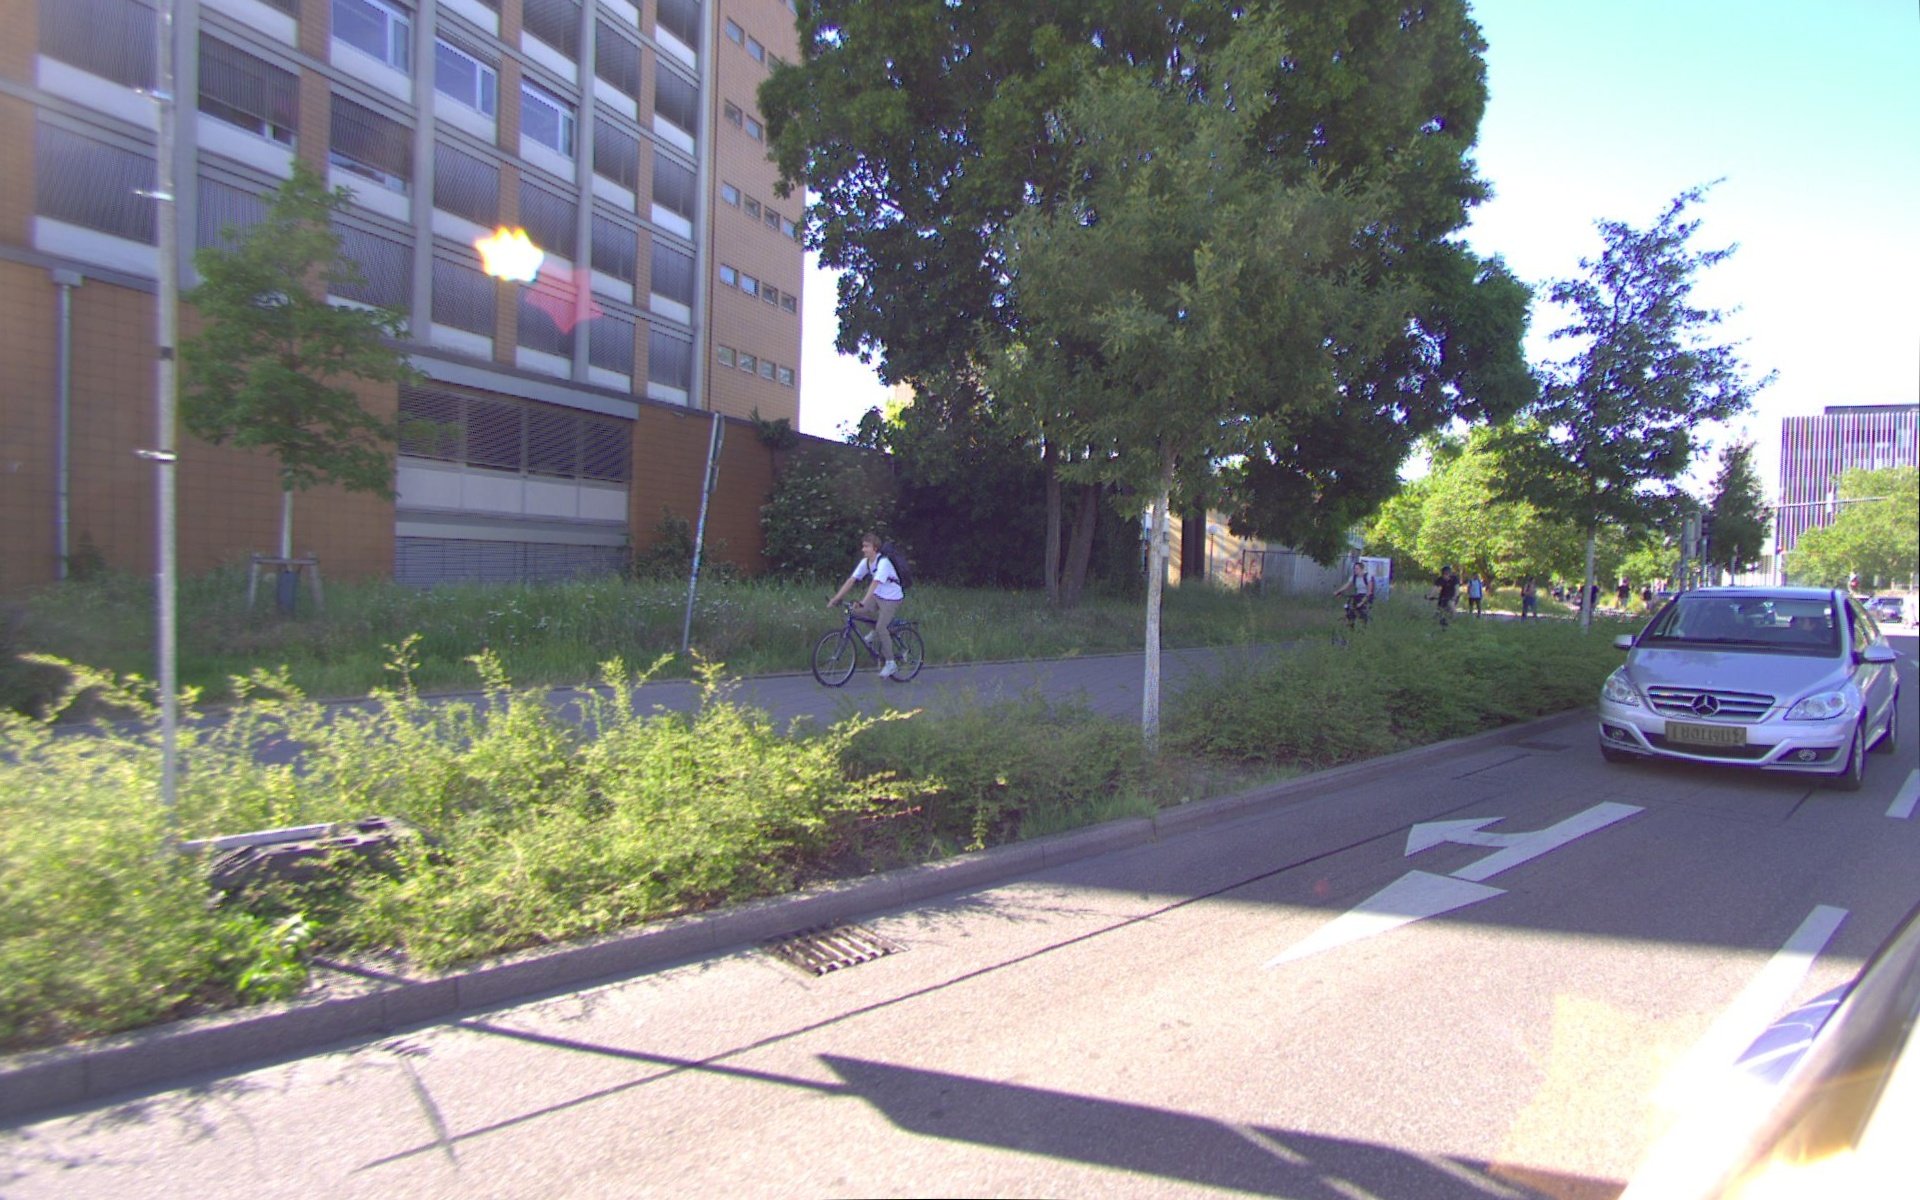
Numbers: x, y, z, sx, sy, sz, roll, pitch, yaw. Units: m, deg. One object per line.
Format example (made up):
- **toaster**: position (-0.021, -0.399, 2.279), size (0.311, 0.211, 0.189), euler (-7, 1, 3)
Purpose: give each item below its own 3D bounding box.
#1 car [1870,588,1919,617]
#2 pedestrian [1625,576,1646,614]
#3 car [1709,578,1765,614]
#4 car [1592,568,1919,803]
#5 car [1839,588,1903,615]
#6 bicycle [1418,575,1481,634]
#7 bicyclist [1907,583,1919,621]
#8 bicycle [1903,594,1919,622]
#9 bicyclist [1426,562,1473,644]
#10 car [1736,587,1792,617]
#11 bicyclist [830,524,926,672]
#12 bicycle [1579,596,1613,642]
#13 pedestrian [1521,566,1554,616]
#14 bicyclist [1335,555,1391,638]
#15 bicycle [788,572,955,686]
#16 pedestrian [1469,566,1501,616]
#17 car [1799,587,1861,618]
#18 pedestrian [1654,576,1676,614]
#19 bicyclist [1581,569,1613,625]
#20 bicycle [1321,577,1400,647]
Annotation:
- **car**: position (52.914, 0.112, 56.648), size (1.967, 1.574, 4.674), euler (1, 1, 30)
- **pedestrian**: position (33.637, -0.250, 50.368), size (0.729, 1.804, 0.724), euler (2, -1, 44)
- **car**: position (44.629, -0.240, 58.233), size (1.923, 1.977, 4.707), euler (1, 1, 30)
- **car**: position (7.670, 0.552, 9.499), size (4.560, 1.613, 1.769), euler (-3, 3, -42)
- **car**: position (56.700, 0.050, 63.059), size (1.967, 1.574, 4.674), euler (1, 1, 30)
- **bicycle**: position (10.340, 0.077, 21.348), size (0.641, 1.179, 1.841), euler (3, 2, 43)
- **bicyclist**: position (44.231, 0.114, 46.519), size (0.739, 1.705, 0.968), euler (2, 3, 28)
- **bicycle**: position (44.273, 0.367, 46.611), size (0.741, 1.179, 1.852), euler (2, 3, 28)
- **bicyclist**: position (10.318, 0.055, 21.319), size (0.641, 1.665, 0.764), euler (3, 1, 44)
- **car**: position (41.516, 0.070, 52.334), size (1.690, 1.460, 3.958), euler (1, 1, 30)
- **bicyclist**: position (-0.944, -0.040, 11.675), size (0.630, 1.614, 0.819), euler (6, 4, 44)
- **bicycle**: position (17.208, 0.493, 27.367), size (0.639, 1.180, 1.845), euler (1, 1, 37)
- **pedestrian**: position (19.843, -0.303, 34.793), size (0.665, 1.664, 0.736), euler (2, -1, -1)
- **bicyclist**: position (7.396, -0.081, 18.587), size (0.641, 1.462, 0.764), euler (5, 3, 44)
- **bicycle**: position (-0.988, 0.295, 11.675), size (0.641, 1.179, 1.926), euler (6, 5, 44)
- **pedestrian**: position (17.750, -0.300, 34.249), size (0.666, 1.664, 0.735), euler (2, -1, 5)
- **car**: position (45.327, 0.109, 52.806), size (1.987, 1.487, 3.951), euler (2, 2, 34)
- **pedestrian**: position (34.430, -0.236, 49.414), size (0.729, 1.839, 0.724), euler (2, -1, 44)
- **bicyclist**: position (17.191, -0.086, 27.318), size (0.639, 1.462, 0.940), euler (1, 1, 37)
- **bicycle**: position (7.383, 0.198, 18.596), size (0.641, 1.179, 1.840), euler (5, 4, 44)
